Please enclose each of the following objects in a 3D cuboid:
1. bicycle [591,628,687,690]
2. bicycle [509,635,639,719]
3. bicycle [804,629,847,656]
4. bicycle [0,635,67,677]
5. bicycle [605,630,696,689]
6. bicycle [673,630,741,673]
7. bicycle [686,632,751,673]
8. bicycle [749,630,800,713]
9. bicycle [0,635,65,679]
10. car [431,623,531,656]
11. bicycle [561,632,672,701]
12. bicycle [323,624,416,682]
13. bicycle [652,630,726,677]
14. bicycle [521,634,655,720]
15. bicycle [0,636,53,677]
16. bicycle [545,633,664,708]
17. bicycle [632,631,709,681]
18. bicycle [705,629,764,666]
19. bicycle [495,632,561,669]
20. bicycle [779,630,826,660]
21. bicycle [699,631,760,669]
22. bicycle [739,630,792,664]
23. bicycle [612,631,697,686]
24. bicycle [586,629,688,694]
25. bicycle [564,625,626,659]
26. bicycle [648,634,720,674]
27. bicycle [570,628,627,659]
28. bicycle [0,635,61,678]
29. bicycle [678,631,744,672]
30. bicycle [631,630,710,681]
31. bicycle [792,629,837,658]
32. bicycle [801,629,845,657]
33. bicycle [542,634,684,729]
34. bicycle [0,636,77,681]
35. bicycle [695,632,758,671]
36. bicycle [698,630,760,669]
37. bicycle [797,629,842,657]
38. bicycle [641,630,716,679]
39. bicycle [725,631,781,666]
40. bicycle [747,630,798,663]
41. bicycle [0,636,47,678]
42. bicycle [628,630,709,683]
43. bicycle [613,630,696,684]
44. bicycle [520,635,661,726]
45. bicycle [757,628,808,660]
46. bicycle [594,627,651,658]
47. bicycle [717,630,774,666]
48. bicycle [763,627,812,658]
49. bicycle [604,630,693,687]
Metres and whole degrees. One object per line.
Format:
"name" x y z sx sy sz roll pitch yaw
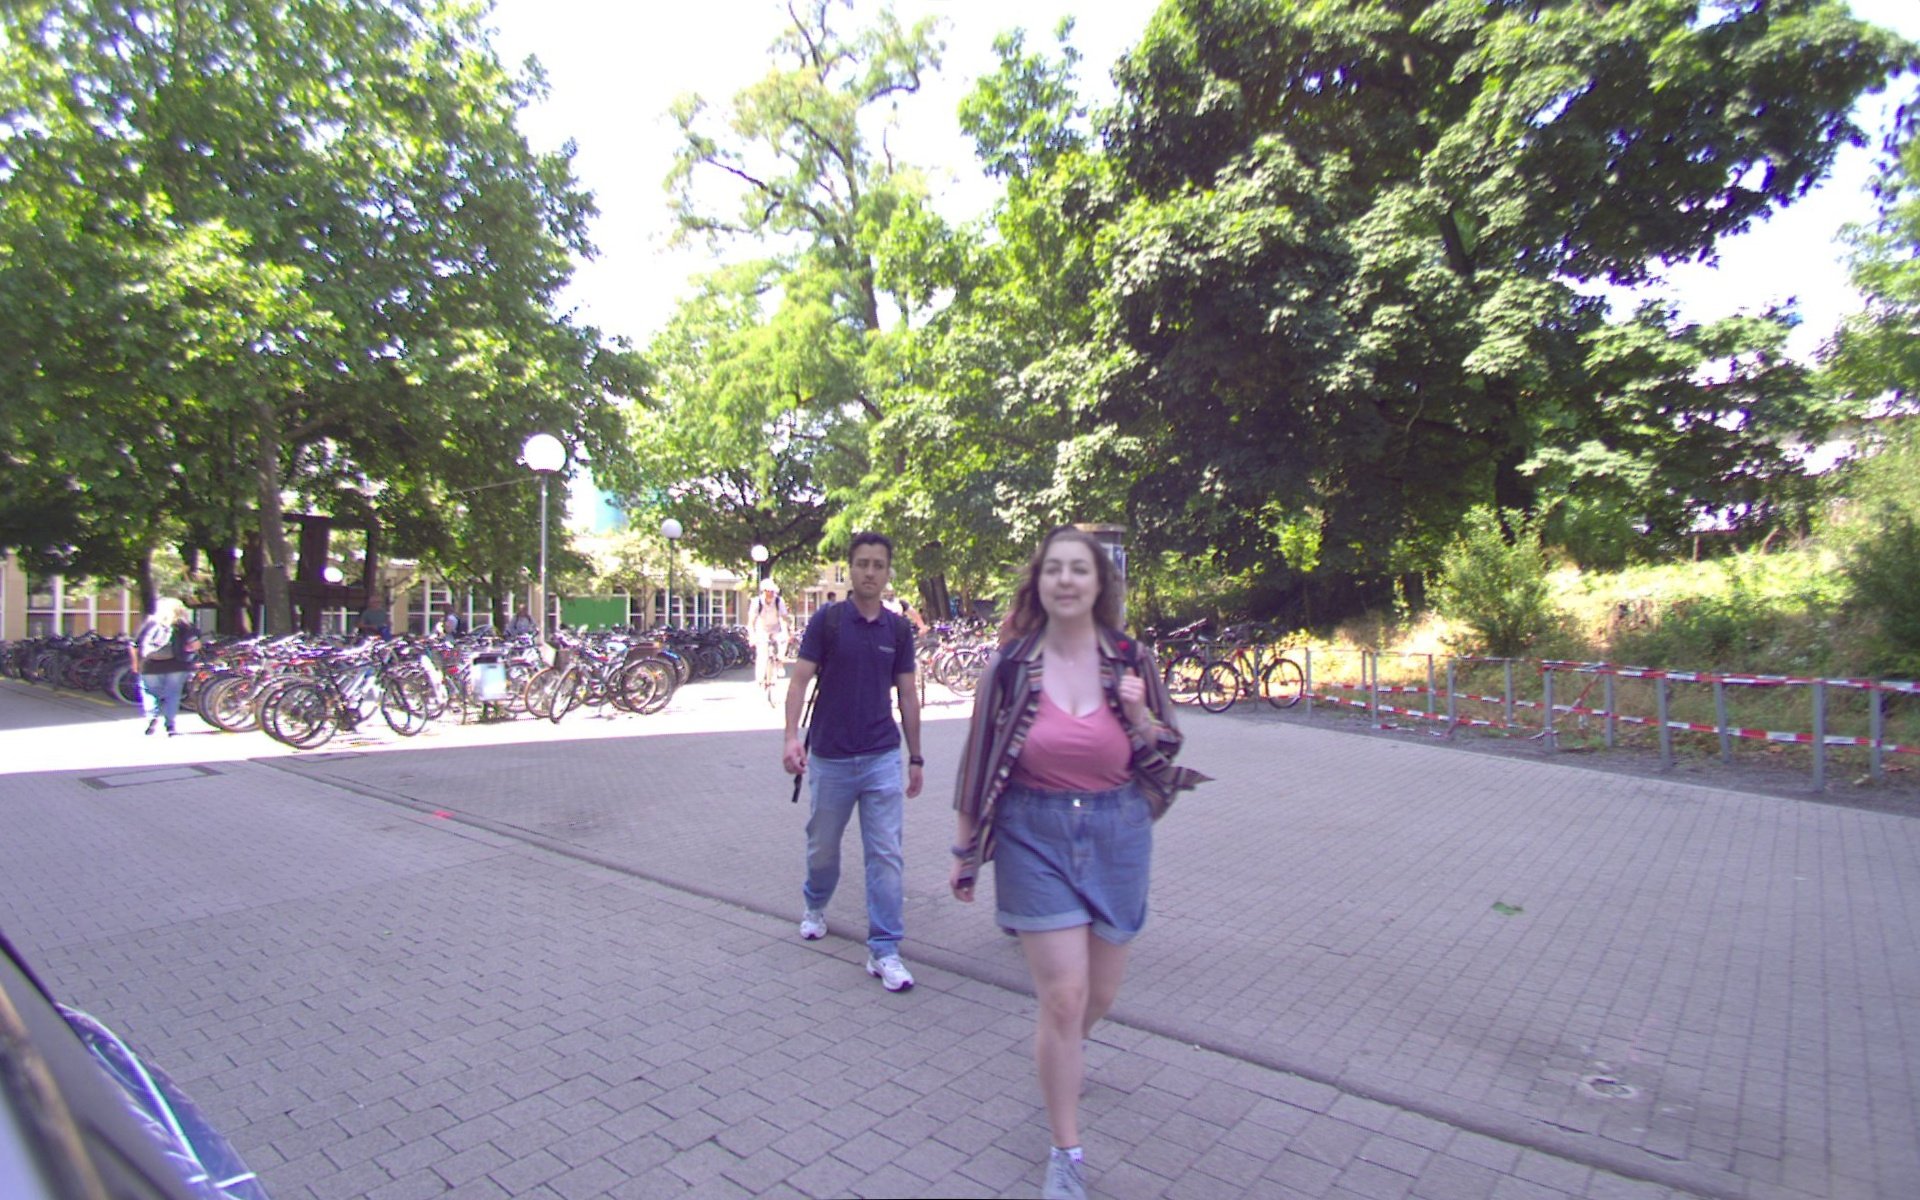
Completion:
"bicycle" -5.945 1.085 18.818 1.671 1.092 0.475 0 -1 -14
"bicycle" -5.451 1.059 14.334 1.670 1.092 0.475 0 -1 -30
"bicycle" -5.478 1.735 41.373 1.682 1.092 0.472 -1 -1 12
"bicycle" -25.988 1.556 28.218 1.603 1.116 0.498 0 -4 -38
"bicycle" -6.053 1.152 19.860 1.671 1.092 0.475 0 -1 -14
"bicycle" -6.664 1.349 26.687 1.676 1.092 0.474 -1 -1 2
"bicycle" -6.699 1.446 28.096 1.676 1.092 0.474 -1 -1 2
"bicycle" -2.697 0.993 14.625 0.594 1.092 1.704 0 -1 -14
"bicycle" -24.943 1.510 26.959 0.630 1.116 1.606 -1 -1 44
"car" -25.478 2.049 53.917 1.836 1.630 4.480 0 -1 38
"bicycle" -5.650 1.083 16.682 1.672 1.092 0.475 -1 -1 -8
"bicycle" -12.649 1.133 21.698 1.676 1.209 0.575 -1 -1 1
"bicycle" -6.546 1.280 24.495 1.673 1.092 0.475 -1 -1 -7
"bicycle" -5.113 1.035 13.946 1.670 1.092 0.475 0 -1 -30
"bicycle" -26.714 1.590 28.560 0.496 1.116 1.608 -4 -4 40
"bicycle" -5.436 1.065 15.535 1.672 1.092 0.475 -1 -1 -8
"bicycle" -6.586 1.268 23.089 1.671 1.092 0.475 0 -1 -14
"bicycle" -6.740 1.420 30.258 1.676 1.092 0.474 -1 -1 2
"bicycle" -13.405 1.553 31.420 1.884 1.116 0.502 -1 -1 8
"bicycle" -5.873 1.686 37.839 1.682 1.092 0.472 -1 -1 12
"bicycle" -6.761 1.469 29.742 1.676 1.092 0.474 -1 -1 2
"bicycle" -6.419 1.541 33.430 1.676 1.092 0.474 -1 -1 2
"bicycle" -6.342 1.203 21.045 1.671 1.092 0.475 0 -1 -14
"bicycle" -5.668 1.076 17.836 1.671 1.092 0.475 0 -1 -11
"bicycle" -12.345 1.431 34.209 1.983 1.116 0.501 -1 -1 11
"bicycle" -6.993 1.360 25.668 1.716 0.969 0.452 -1 -1 2
"bicycle" -13.163 1.578 36.839 1.983 1.116 0.501 -1 -1 11
"bicycle" -25.372 1.525 27.324 0.497 1.116 1.606 -1 -1 45
"bicycle" -6.753 1.397 27.503 1.676 1.092 0.474 -1 -1 2
"bicycle" -6.462 1.227 22.608 1.671 1.092 0.475 0 -1 -14
"bicycle" -5.619 1.680 39.053 1.682 1.092 0.472 -1 -1 12
"bicycle" -5.469 1.709 40.361 1.682 1.092 0.472 -1 -1 12
"bicycle" -4.465 1.019 13.093 1.672 1.118 0.475 0 -1 -37
"bicycle" -24.400 1.520 26.720 0.506 1.116 1.606 -1 -1 45
"bicycle" -6.639 1.461 28.768 1.676 1.092 0.474 -1 -1 2
"bicycle" -6.677 1.425 29.266 1.676 1.092 0.474 -1 -1 2
"bicycle" -5.529 1.688 39.851 1.682 1.092 0.472 -1 -1 12
"bicycle" -6.596 1.261 23.720 1.671 1.092 0.475 0 -1 -14
"bicycle" -6.623 1.543 32.435 1.676 1.092 0.474 -1 -1 2
"bicycle" -6.440 1.587 34.754 1.676 1.092 0.474 -1 -1 2
"bicycle" -25.932 1.548 27.542 0.497 1.116 1.606 -1 -1 45
"bicycle" -6.357 1.217 22.091 1.671 1.092 0.475 0 -1 -14
"bicycle" -6.476 1.199 21.507 1.671 1.092 0.475 0 -1 -14
"bicycle" -4.878 1.036 13.420 1.695 1.092 0.475 0 -1 -35
"bicycle" -6.258 1.561 35.699 1.679 1.092 0.473 -1 -1 7
"bicycle" -12.601 1.587 37.834 2.006 1.116 0.501 -1 -1 8
"bicycle" -6.656 1.498 31.452 1.676 1.092 0.474 -1 -1 2
"bicycle" -6.283 1.546 36.895 1.682 1.092 0.472 -1 -1 12
"bicycle" -6.235 1.161 20.316 1.671 1.092 0.475 0 -1 -14
